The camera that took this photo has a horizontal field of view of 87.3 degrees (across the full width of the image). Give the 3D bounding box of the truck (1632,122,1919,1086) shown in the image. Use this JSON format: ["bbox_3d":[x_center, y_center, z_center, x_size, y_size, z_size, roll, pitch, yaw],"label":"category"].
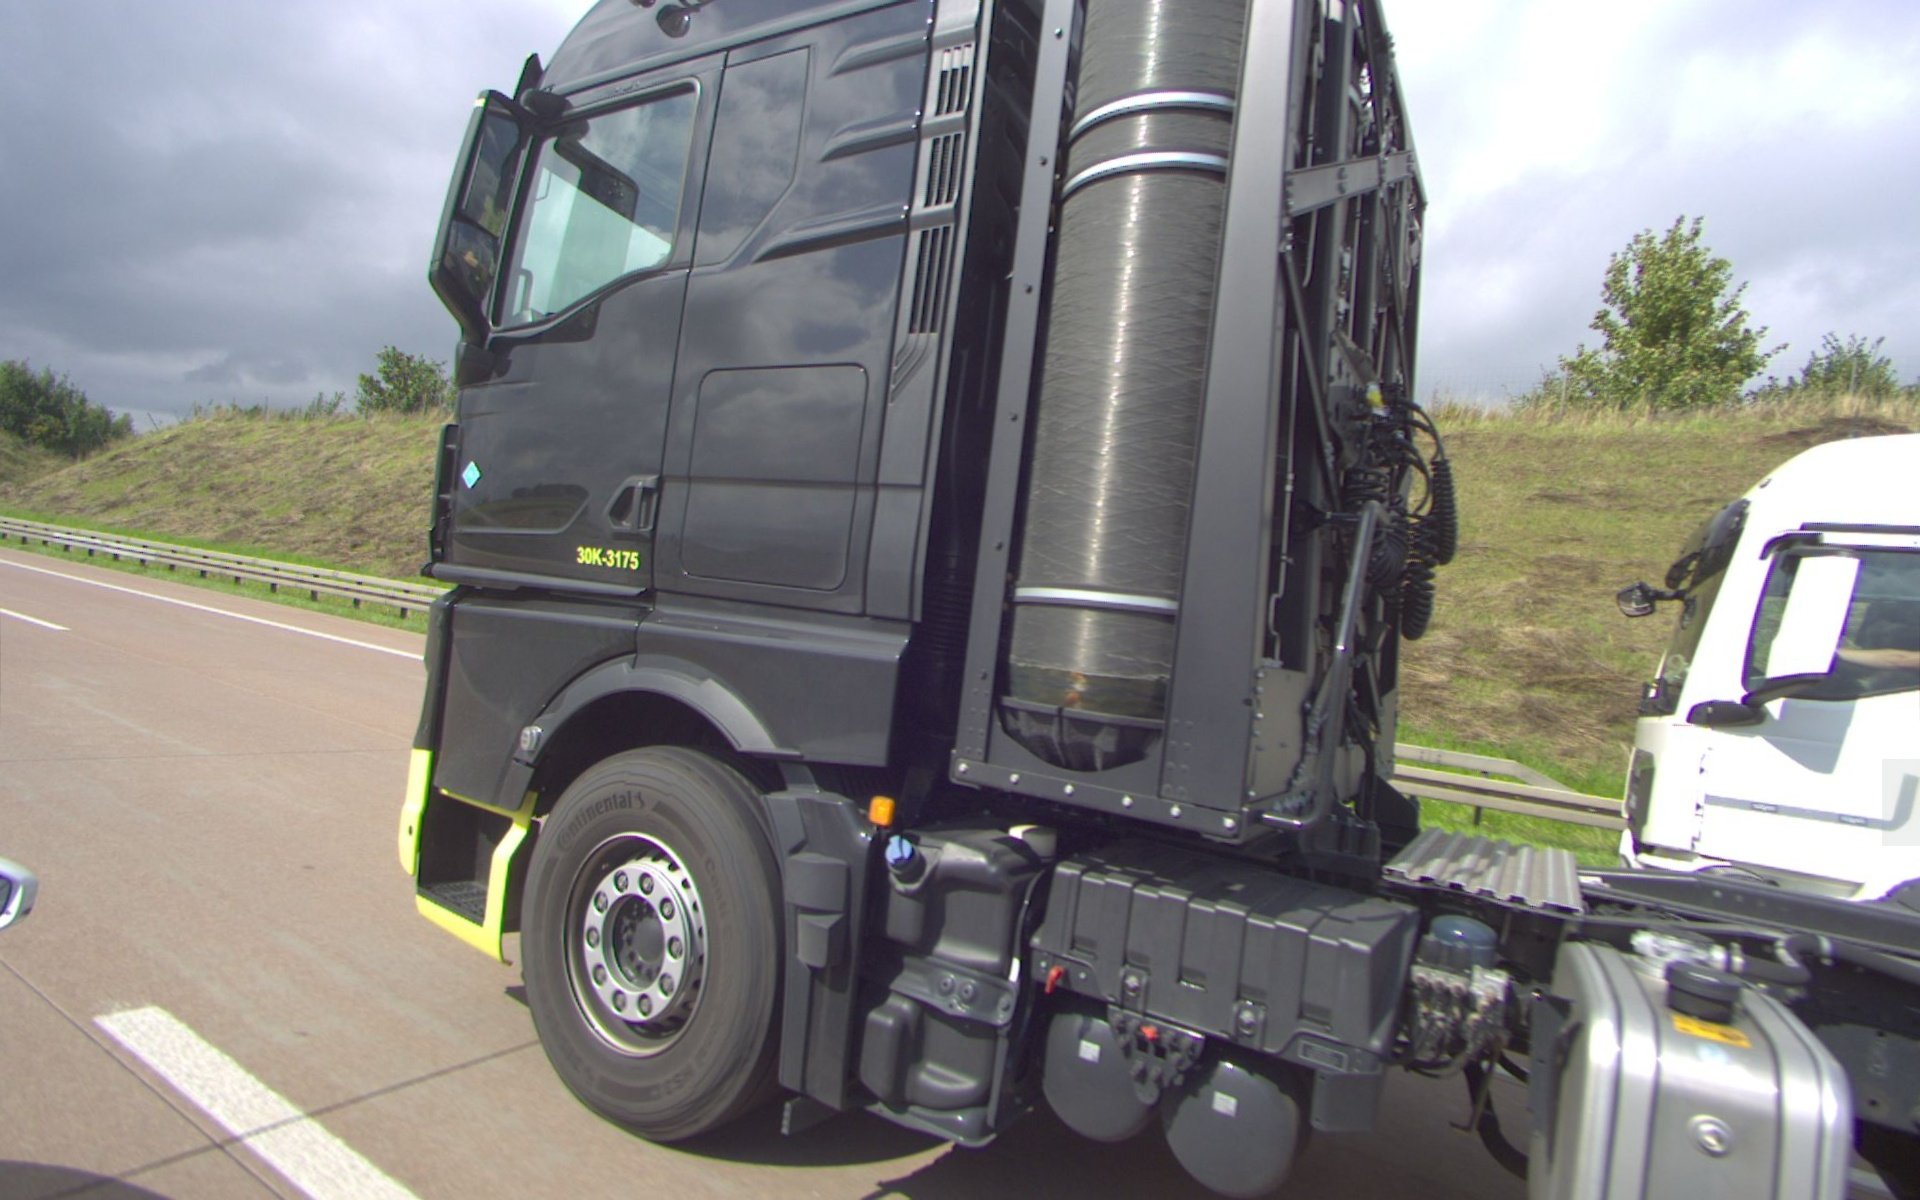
[{"bbox_3d":[6.027,0.261,4.476,4.468,3.937,2.755,6,-2,30],"label":"truck"}]

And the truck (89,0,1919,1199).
[{"bbox_3d":[1.018,-0.189,3.146,8.179,3.591,2.854,6,-2,30],"label":"truck"}]
